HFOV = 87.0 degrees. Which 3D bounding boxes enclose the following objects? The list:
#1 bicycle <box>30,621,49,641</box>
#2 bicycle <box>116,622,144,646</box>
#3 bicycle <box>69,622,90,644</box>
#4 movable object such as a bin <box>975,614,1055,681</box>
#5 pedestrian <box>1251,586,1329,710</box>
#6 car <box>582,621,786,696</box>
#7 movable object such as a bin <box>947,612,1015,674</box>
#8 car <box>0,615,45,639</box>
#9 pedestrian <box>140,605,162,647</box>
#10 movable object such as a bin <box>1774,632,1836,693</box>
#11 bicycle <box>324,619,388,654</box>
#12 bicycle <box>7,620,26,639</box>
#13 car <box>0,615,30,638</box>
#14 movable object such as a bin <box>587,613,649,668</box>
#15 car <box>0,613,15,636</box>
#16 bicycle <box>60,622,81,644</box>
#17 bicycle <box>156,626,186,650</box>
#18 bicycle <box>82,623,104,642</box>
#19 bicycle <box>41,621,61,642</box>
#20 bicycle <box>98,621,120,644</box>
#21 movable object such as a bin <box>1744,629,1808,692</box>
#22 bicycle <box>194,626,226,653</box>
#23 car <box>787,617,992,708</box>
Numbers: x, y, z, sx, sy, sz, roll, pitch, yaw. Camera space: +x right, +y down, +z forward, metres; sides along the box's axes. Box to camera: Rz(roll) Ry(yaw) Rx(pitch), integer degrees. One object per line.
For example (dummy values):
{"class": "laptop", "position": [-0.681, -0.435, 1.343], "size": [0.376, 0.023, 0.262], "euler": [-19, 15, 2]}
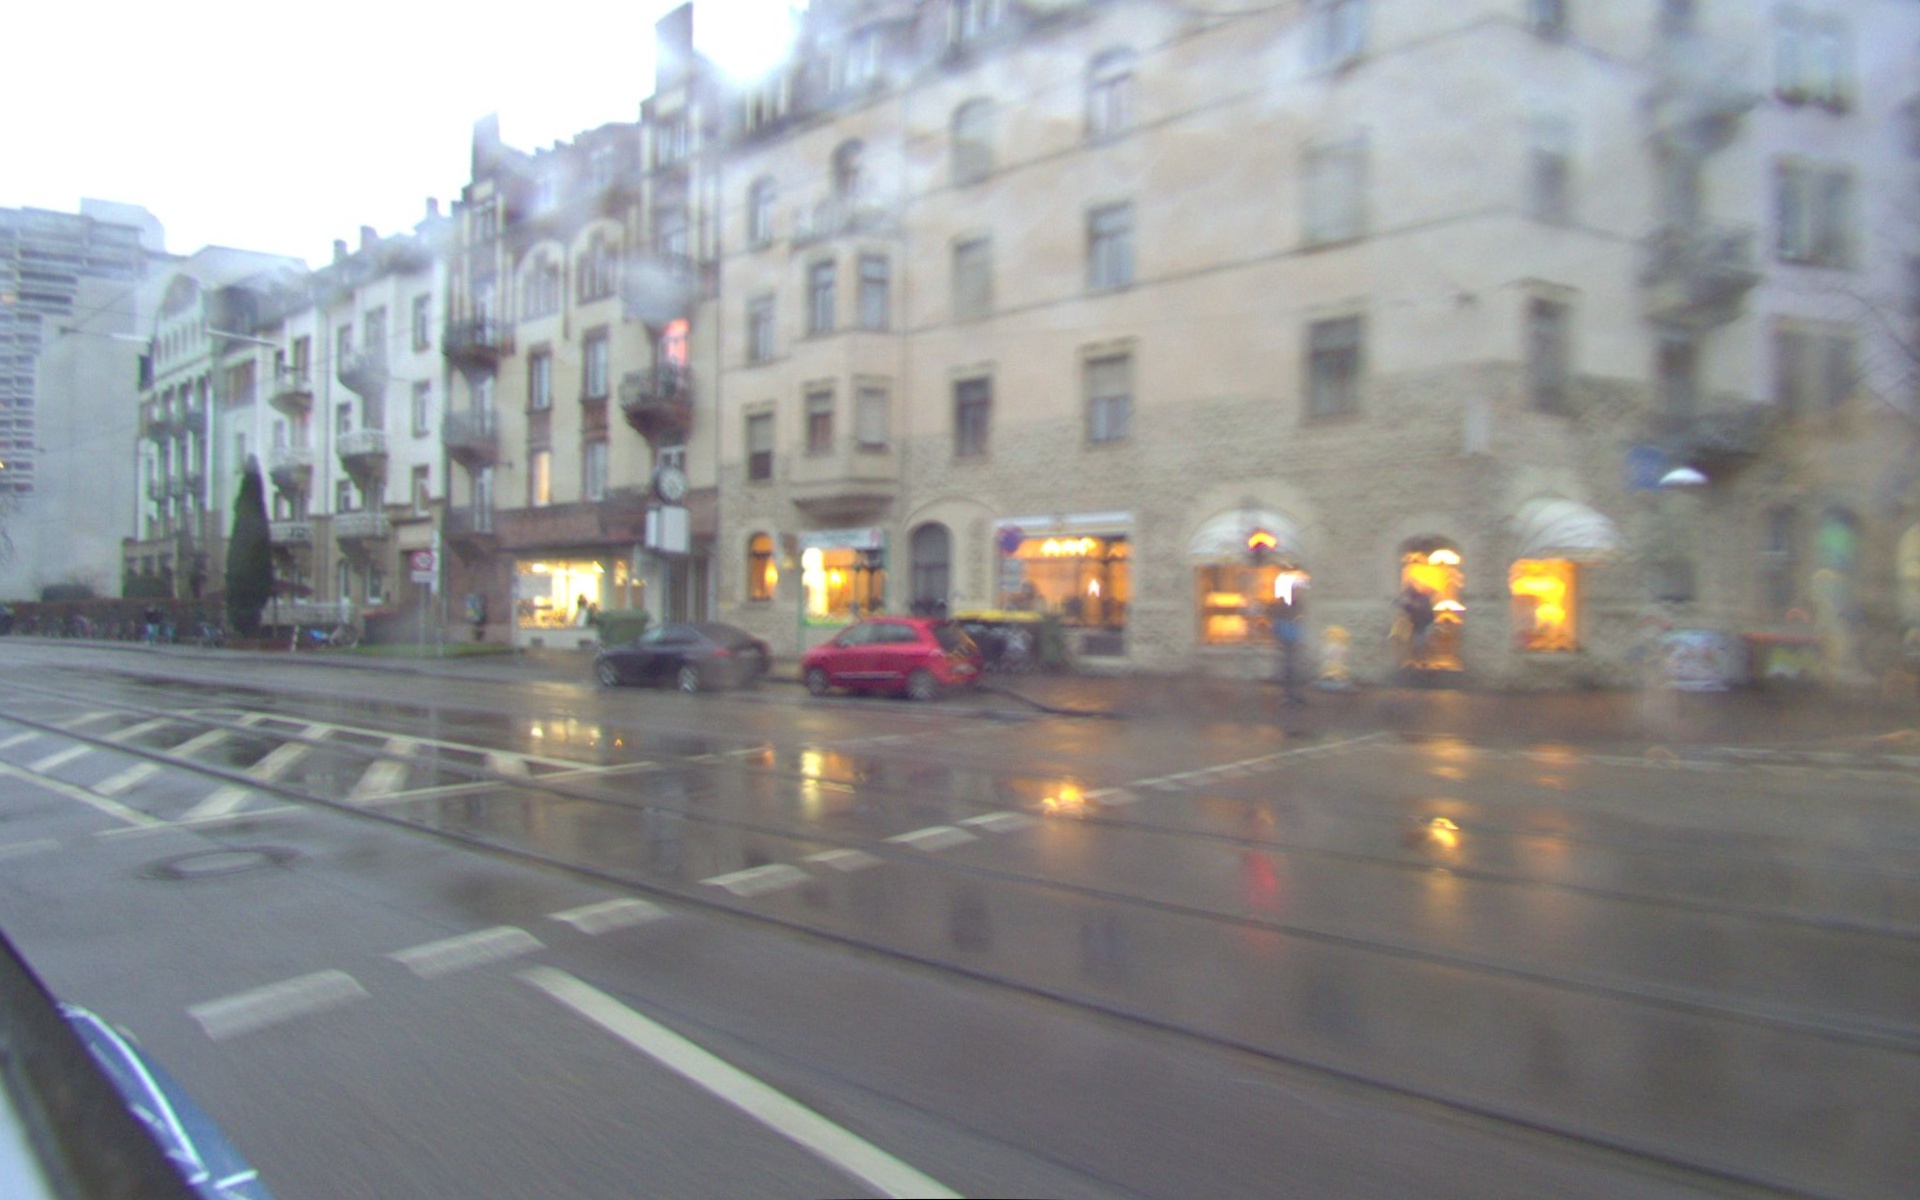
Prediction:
{"class": "bicycle", "position": [-48.774, 1.644, 53.609], "size": [1.878, 1.014, 0.430], "euler": [0, 2, 38]}
{"class": "bicycle", "position": [-36.994, 1.503, 45.110], "size": [2.206, 1.014, 0.479], "euler": [0, 2, 38]}
{"class": "bicycle", "position": [-42.705, 1.611, 49.076], "size": [1.603, 1.014, 0.430], "euler": [0, 2, 38]}
{"class": "movable object such as a bin", "position": [1.242, 1.029, 22.756], "size": [1.278, 1.382, 1.337], "euler": [-1, 2, 35]}
{"class": "pedestrian", "position": [5.289, 0.738, 16.250], "size": [0.784, 1.892, 0.897], "euler": [-2, 1, -18]}
{"class": "car", "position": [-6.148, 1.222, 22.371], "size": [4.495, 1.400, 1.788], "euler": [-1, 2, 33]}
{"class": "movable object such as a bin", "position": [0.495, 1.008, 24.048], "size": [1.272, 1.382, 0.993], "euler": [-1, 2, 35]}
{"class": "car", "position": [-57.744, 1.640, 60.854], "size": [1.724, 1.424, 3.795], "euler": [-1, -1, 37]}
{"class": "pedestrian", "position": [-32.834, 1.060, 41.075], "size": [0.448, 1.654, 0.566], "euler": [0, 2, 38]}
{"class": "movable object such as a bin", "position": [16.154, 1.182, 19.348], "size": [0.638, 1.144, 0.655], "euler": [1, -1, -17]}
{"class": "bicycle", "position": [-22.354, 1.327, 37.512], "size": [0.530, 1.167, 1.967], "euler": [-1, 2, 35]}
{"class": "bicycle", "position": [-52.733, 1.625, 56.556], "size": [1.878, 1.014, 0.464], "euler": [0, 2, 38]}
{"class": "car", "position": [-59.992, 1.646, 62.300], "size": [1.724, 1.424, 3.795], "euler": [-1, -2, 37]}
{"class": "movable object such as a bin", "position": [-9.606, 1.106, 28.420], "size": [1.071, 1.442, 1.226], "euler": [-1, 2, 35]}
{"class": "car", "position": [-62.352, 1.610, 63.821], "size": [1.724, 1.424, 3.796], "euler": [0, 2, 37]}
{"class": "bicycle", "position": [-44.276, 1.627, 50.363], "size": [1.878, 1.014, 0.430], "euler": [0, 2, 38]}
{"class": "bicycle", "position": [-32.578, 1.552, 41.797], "size": [2.208, 0.896, 0.524], "euler": [0, 2, 41]}
{"class": "bicycle", "position": [-41.123, 1.522, 48.010], "size": [1.765, 0.838, 0.437], "euler": [0, 2, 38]}
{"class": "bicycle", "position": [-47.135, 1.631, 52.453], "size": [1.878, 1.014, 0.430], "euler": [0, 2, 38]}
{"class": "bicycle", "position": [-39.573, 1.506, 47.062], "size": [1.710, 1.014, 0.430], "euler": [0, 2, 38]}
{"class": "movable object such as a bin", "position": [15.461, 1.136, 19.189], "size": [0.638, 1.144, 0.694], "euler": [1, -1, -17]}
{"class": "bicycle", "position": [-28.791, 1.502, 38.852], "size": [2.084, 0.947, 0.524], "euler": [0, 2, 41]}
{"class": "car", "position": [-1.385, 1.133, 19.589], "size": [3.665, 1.527, 1.660], "euler": [-1, 2, 30]}
